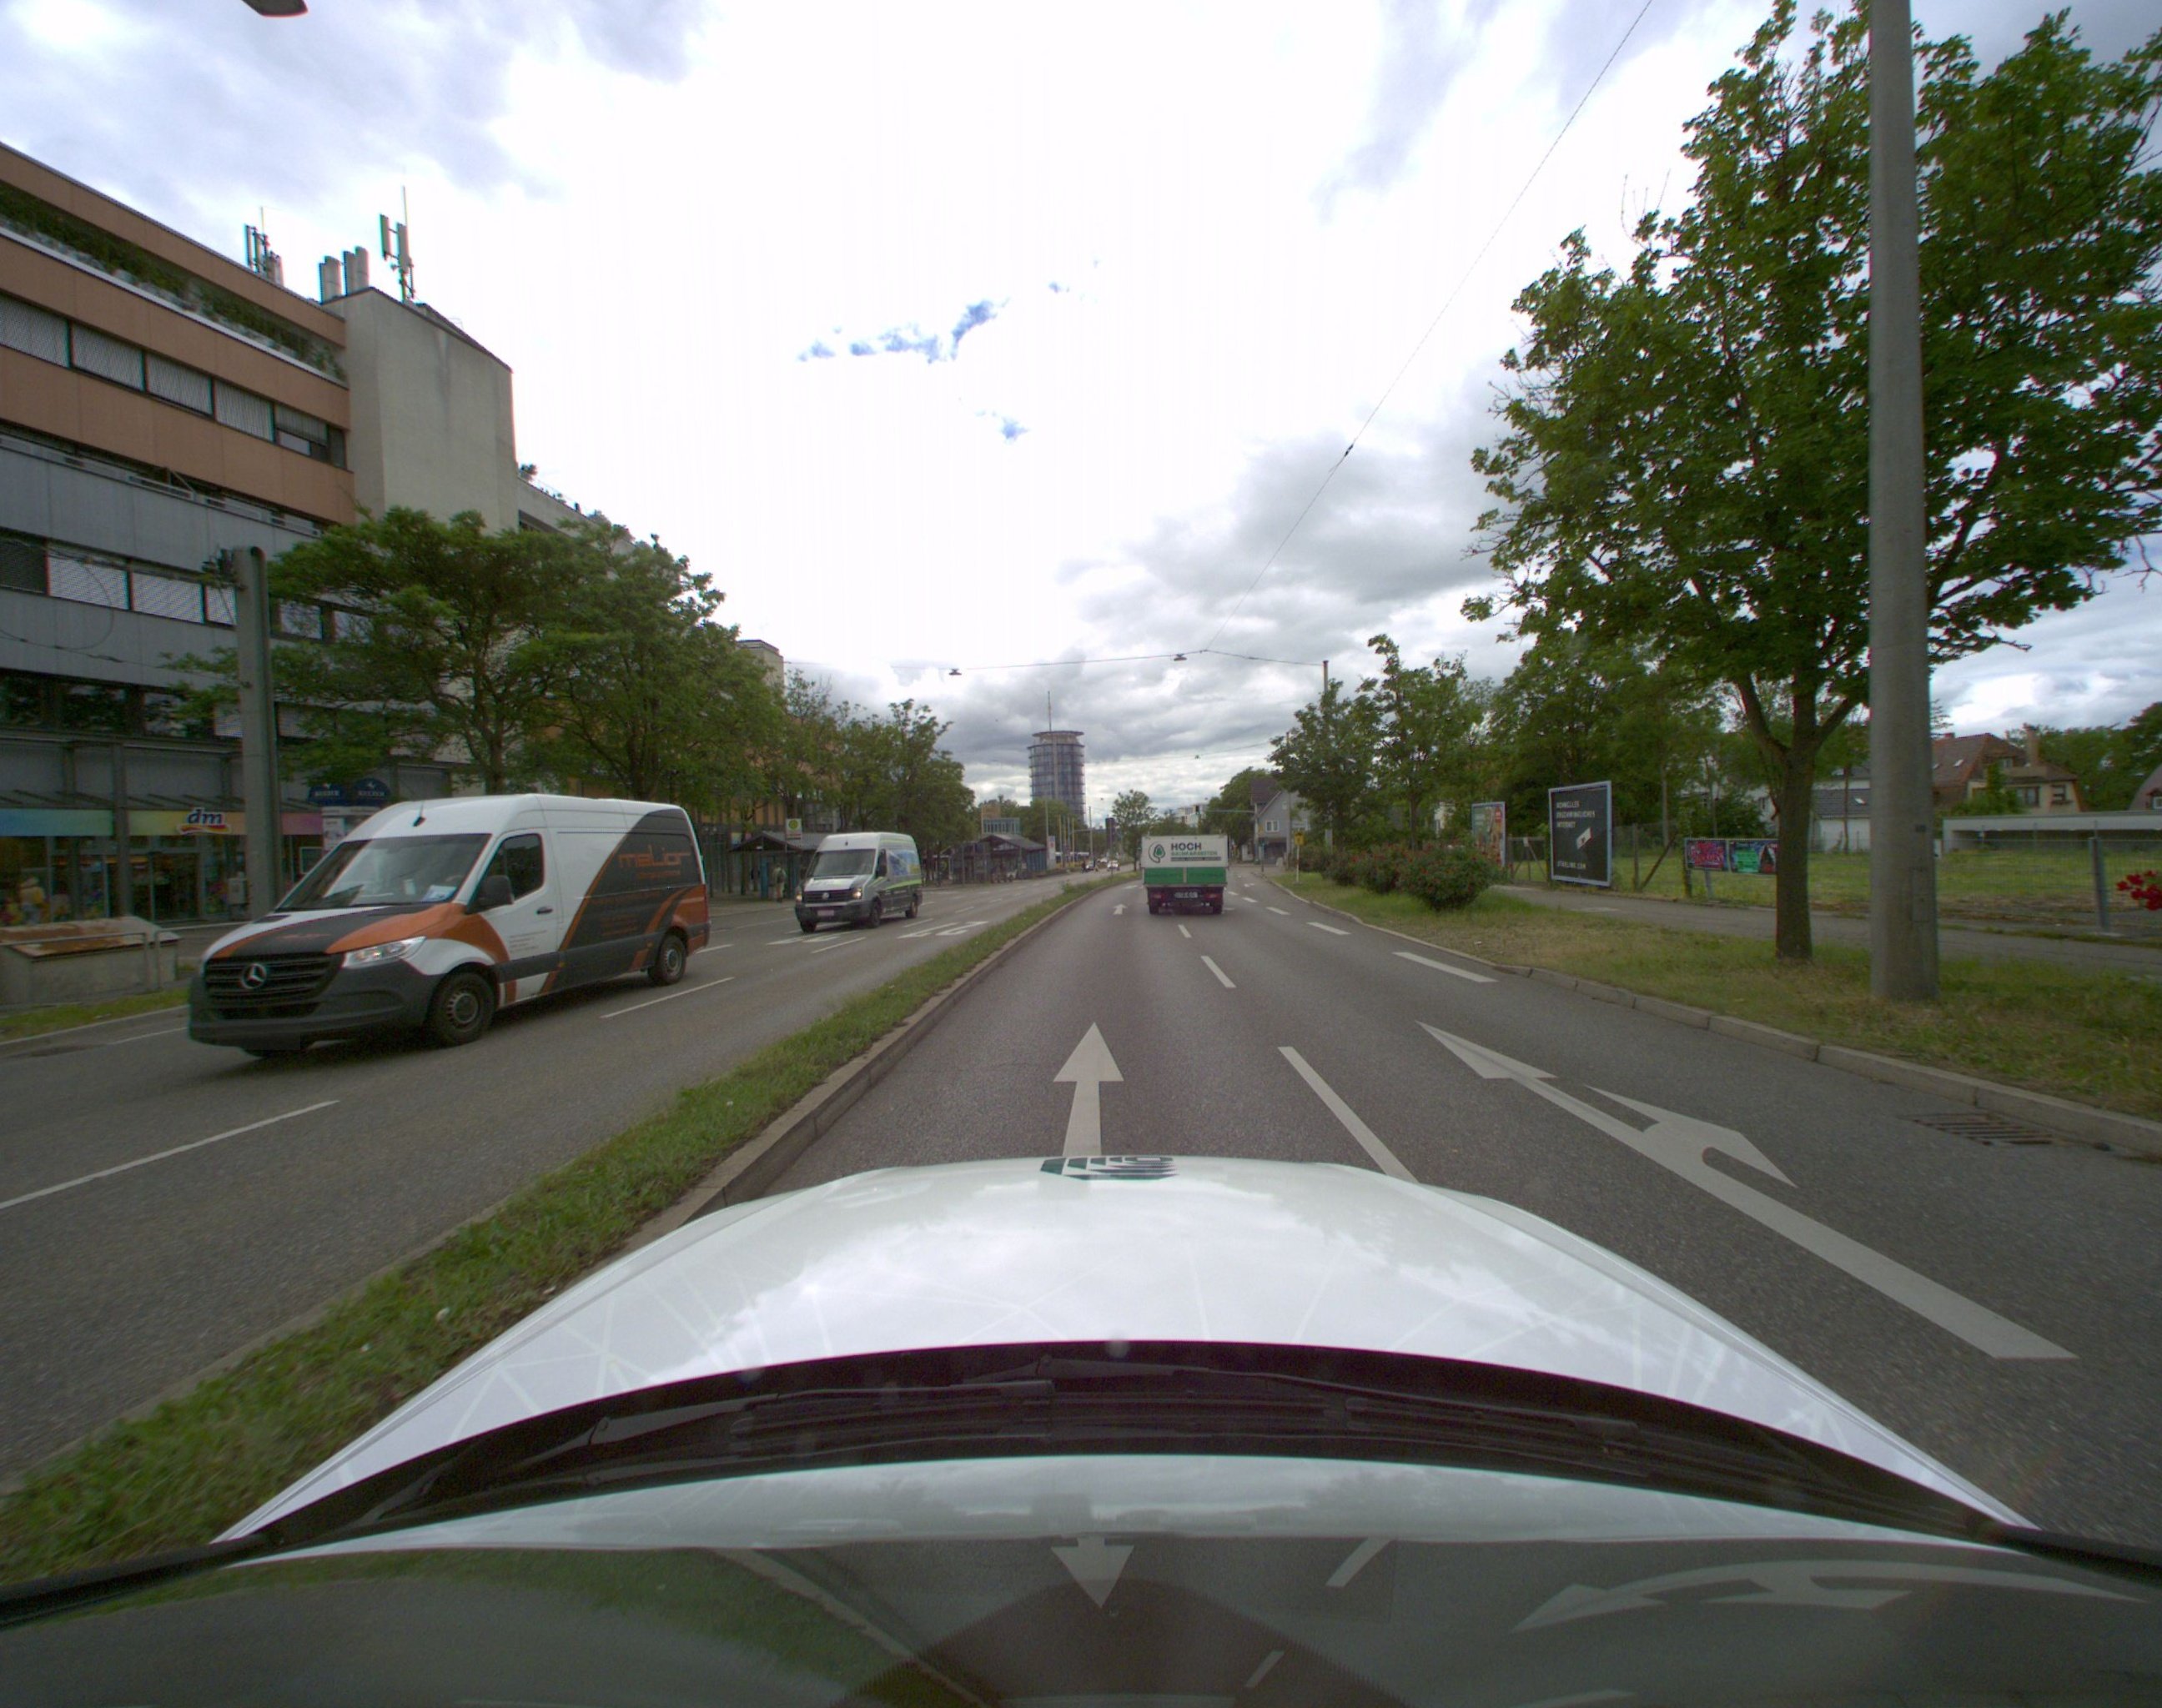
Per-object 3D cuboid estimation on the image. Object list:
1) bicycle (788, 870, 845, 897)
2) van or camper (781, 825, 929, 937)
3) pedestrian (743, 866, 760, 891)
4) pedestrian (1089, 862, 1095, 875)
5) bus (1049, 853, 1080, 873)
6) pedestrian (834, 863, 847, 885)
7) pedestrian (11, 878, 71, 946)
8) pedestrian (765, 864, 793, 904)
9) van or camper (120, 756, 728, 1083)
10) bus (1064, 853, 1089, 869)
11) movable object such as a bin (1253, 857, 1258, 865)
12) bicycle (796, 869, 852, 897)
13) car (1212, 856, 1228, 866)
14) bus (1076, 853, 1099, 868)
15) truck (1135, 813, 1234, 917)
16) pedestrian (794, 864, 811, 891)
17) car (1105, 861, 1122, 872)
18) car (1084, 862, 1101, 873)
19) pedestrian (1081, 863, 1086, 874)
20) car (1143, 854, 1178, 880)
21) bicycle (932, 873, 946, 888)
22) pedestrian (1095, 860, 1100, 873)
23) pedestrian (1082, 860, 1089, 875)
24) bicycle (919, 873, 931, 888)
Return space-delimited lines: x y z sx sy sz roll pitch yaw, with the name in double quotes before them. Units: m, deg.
"bicycle" -15.077 1.686 46.487 2.888 1.506 0.973 -1 -1 1
"van or camper" -6.099 0.668 22.999 2.024 2.598 6.120 -4 0 3
"pedestrian" -22.875 1.678 56.488 0.766 1.716 0.823 0 -1 5
"pedestrian" 1.543 1.942 110.410 0.742 1.716 0.583 -2 -1 3
"bus" -3.042 1.674 154.185 2.811 3.431 10.774 -3 -1 14
"pedestrian" -19.529 1.625 66.245 0.767 1.716 0.887 0 -1 1
"pedestrian" -26.772 1.481 20.975 0.647 1.700 0.669 -2 0 1
"pedestrian" -13.983 1.369 37.746 0.700 1.822 1.216 0 -1 6
"van or camper" -6.813 0.551 9.833 1.985 2.598 6.120 -4 0 3
"bus" -0.979 1.635 186.095 2.811 3.431 10.774 -3 -1 14
"movable object such as a bin" 23.594 0.923 110.047 0.600 1.059 0.591 -1 -1 12
"bicycle" -14.992 1.691 47.514 2.888 1.506 0.892 -2 -1 1
"car" 23.164 1.128 136.042 1.986 1.552 4.001 -2 -1 1
"bus" 1.674 1.592 196.566 2.811 3.431 10.774 -3 -1 14
"truck" 3.088 0.252 24.188 2.457 2.611 6.562 -1 1 7
"pedestrian" -21.753 1.845 63.672 0.892 2.014 0.935 -3 -1 4
"car" 4.837 1.864 120.597 1.982 1.486 4.010 -3 -1 9
"car" 1.693 1.988 121.356 1.982 1.486 4.010 -3 -1 9
"pedestrian" 0.284 2.037 111.437 0.540 1.496 0.488 -2 -1 8
"car" 5.836 0.923 59.338 1.980 1.830 4.013 -2 -1 12
"bicycle" -10.903 2.043 62.740 0.828 1.083 1.933 -2 0 -4
"pedestrian" 2.256 1.727 109.903 0.650 1.716 0.452 -2 -1 3
"pedestrian" 0.578 1.843 110.360 0.826 2.014 0.546 -2 -1 3
"bicycle" -12.012 2.032 62.765 0.712 1.136 1.953 -2 0 -5
